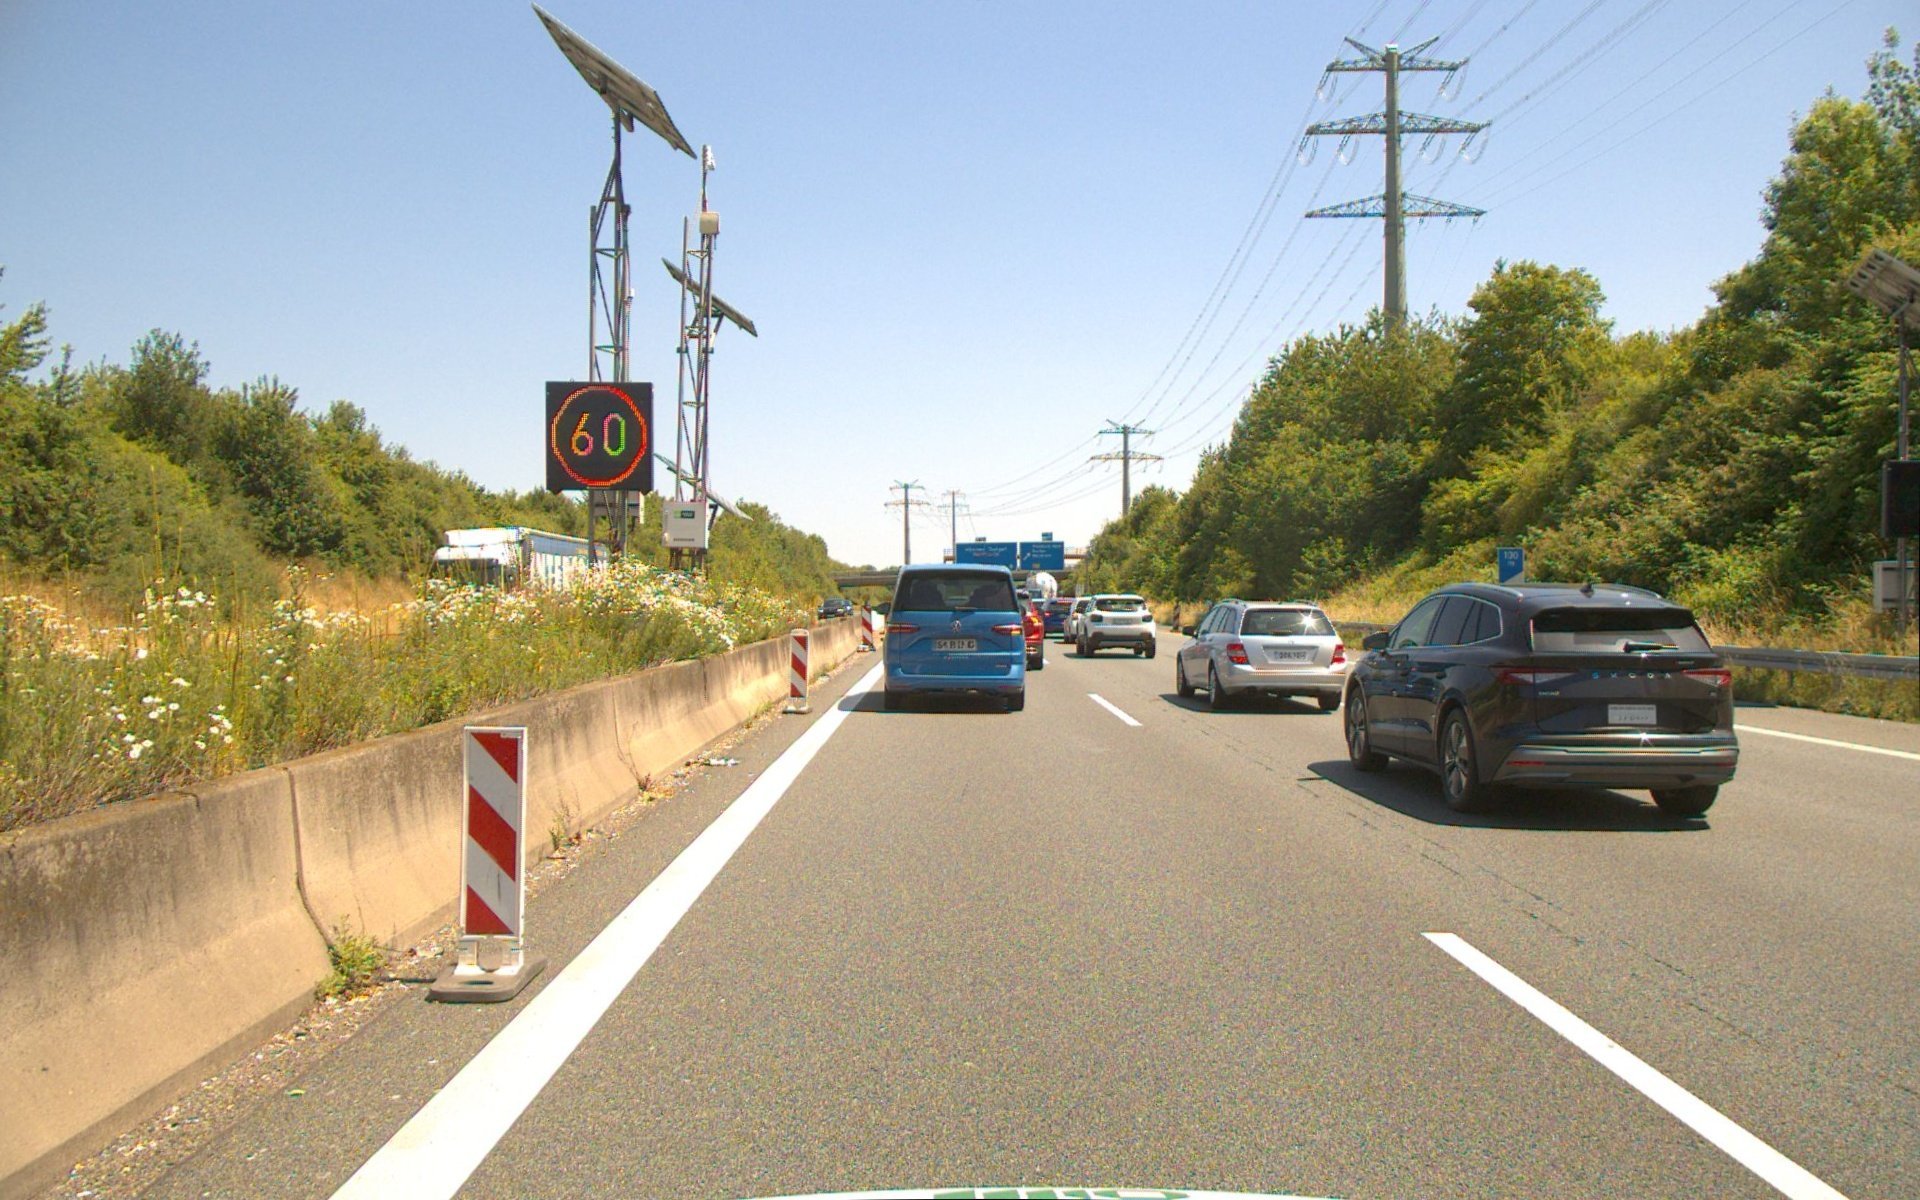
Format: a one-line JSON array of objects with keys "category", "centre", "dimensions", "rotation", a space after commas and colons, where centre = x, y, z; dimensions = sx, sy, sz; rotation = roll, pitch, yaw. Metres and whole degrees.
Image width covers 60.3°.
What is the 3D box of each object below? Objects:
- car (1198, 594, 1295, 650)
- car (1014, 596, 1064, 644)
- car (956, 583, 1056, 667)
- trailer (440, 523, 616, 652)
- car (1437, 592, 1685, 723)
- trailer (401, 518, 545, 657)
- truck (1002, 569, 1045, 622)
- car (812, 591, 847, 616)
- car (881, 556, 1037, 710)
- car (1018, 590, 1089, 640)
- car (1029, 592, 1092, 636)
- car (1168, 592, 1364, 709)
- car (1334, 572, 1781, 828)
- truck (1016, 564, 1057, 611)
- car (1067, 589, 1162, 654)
[{"category": "car", "centre": [7.705, 0.554, 44.856], "dimensions": [1.700, 1.402, 4.300], "rotation": [1, 0, -2]}, {"category": "car", "centre": [3.523, 0.869, 74.080], "dimensions": [1.953, 2.049, 3.999], "rotation": [1, 0, -1]}, {"category": "car", "centre": [0.905, 0.486, 35.126], "dimensions": [1.870, 1.659, 4.382], "rotation": [0, 0, -2]}, {"category": "trailer", "centre": [-15.558, -0.428, 60.983], "dimensions": [2.901, 4.127, 13.594], "rotation": [-2, 0, 0]}, {"category": "car", "centre": [7.643, 0.668, 21.444], "dimensions": [1.705, 1.496, 4.013], "rotation": [1, 0, -1]}, {"category": "trailer", "centre": [-15.474, -0.390, 52.979], "dimensions": [2.901, 4.127, 5.433], "rotation": [-2, 0, -1]}, {"category": "truck", "centre": [3.476, -0.260, 91.181], "dimensions": [1.953, 2.771, 5.678], "rotation": [1, 0, -2]}, {"category": "car", "centre": [-8.542, 0.188, 108.639], "dimensions": [1.953, 1.573, 4.911], "rotation": [-1, 0, 0]}, {"category": "car", "centre": [-0.117, 0.406, 22.979], "dimensions": [1.834, 1.912, 4.380], "rotation": [1, 0, -4]}, {"category": "car", "centre": [3.019, 0.456, 54.337], "dimensions": [1.870, 1.542, 4.381], "rotation": [1, 0, -2]}, {"category": "car", "centre": [3.678, 0.478, 61.232], "dimensions": [1.870, 1.542, 4.381], "rotation": [1, 0, -2]}, {"category": "car", "centre": [4.220, 0.641, 23.473], "dimensions": [1.784, 1.462, 4.381], "rotation": [1, 0, -2]}, {"category": "car", "centre": [4.364, 0.627, 12.901], "dimensions": [1.791, 1.642, 4.429], "rotation": [1, 1, -1]}, {"category": "truck", "centre": [7.132, -1.163, 156.768], "dimensions": [2.591, 4.143, 16.435], "rotation": [1, 0, -2]}, {"category": "car", "centre": [3.879, 0.508, 42.082], "dimensions": [1.870, 1.534, 3.920], "rotation": [1, 0, -3]}]
